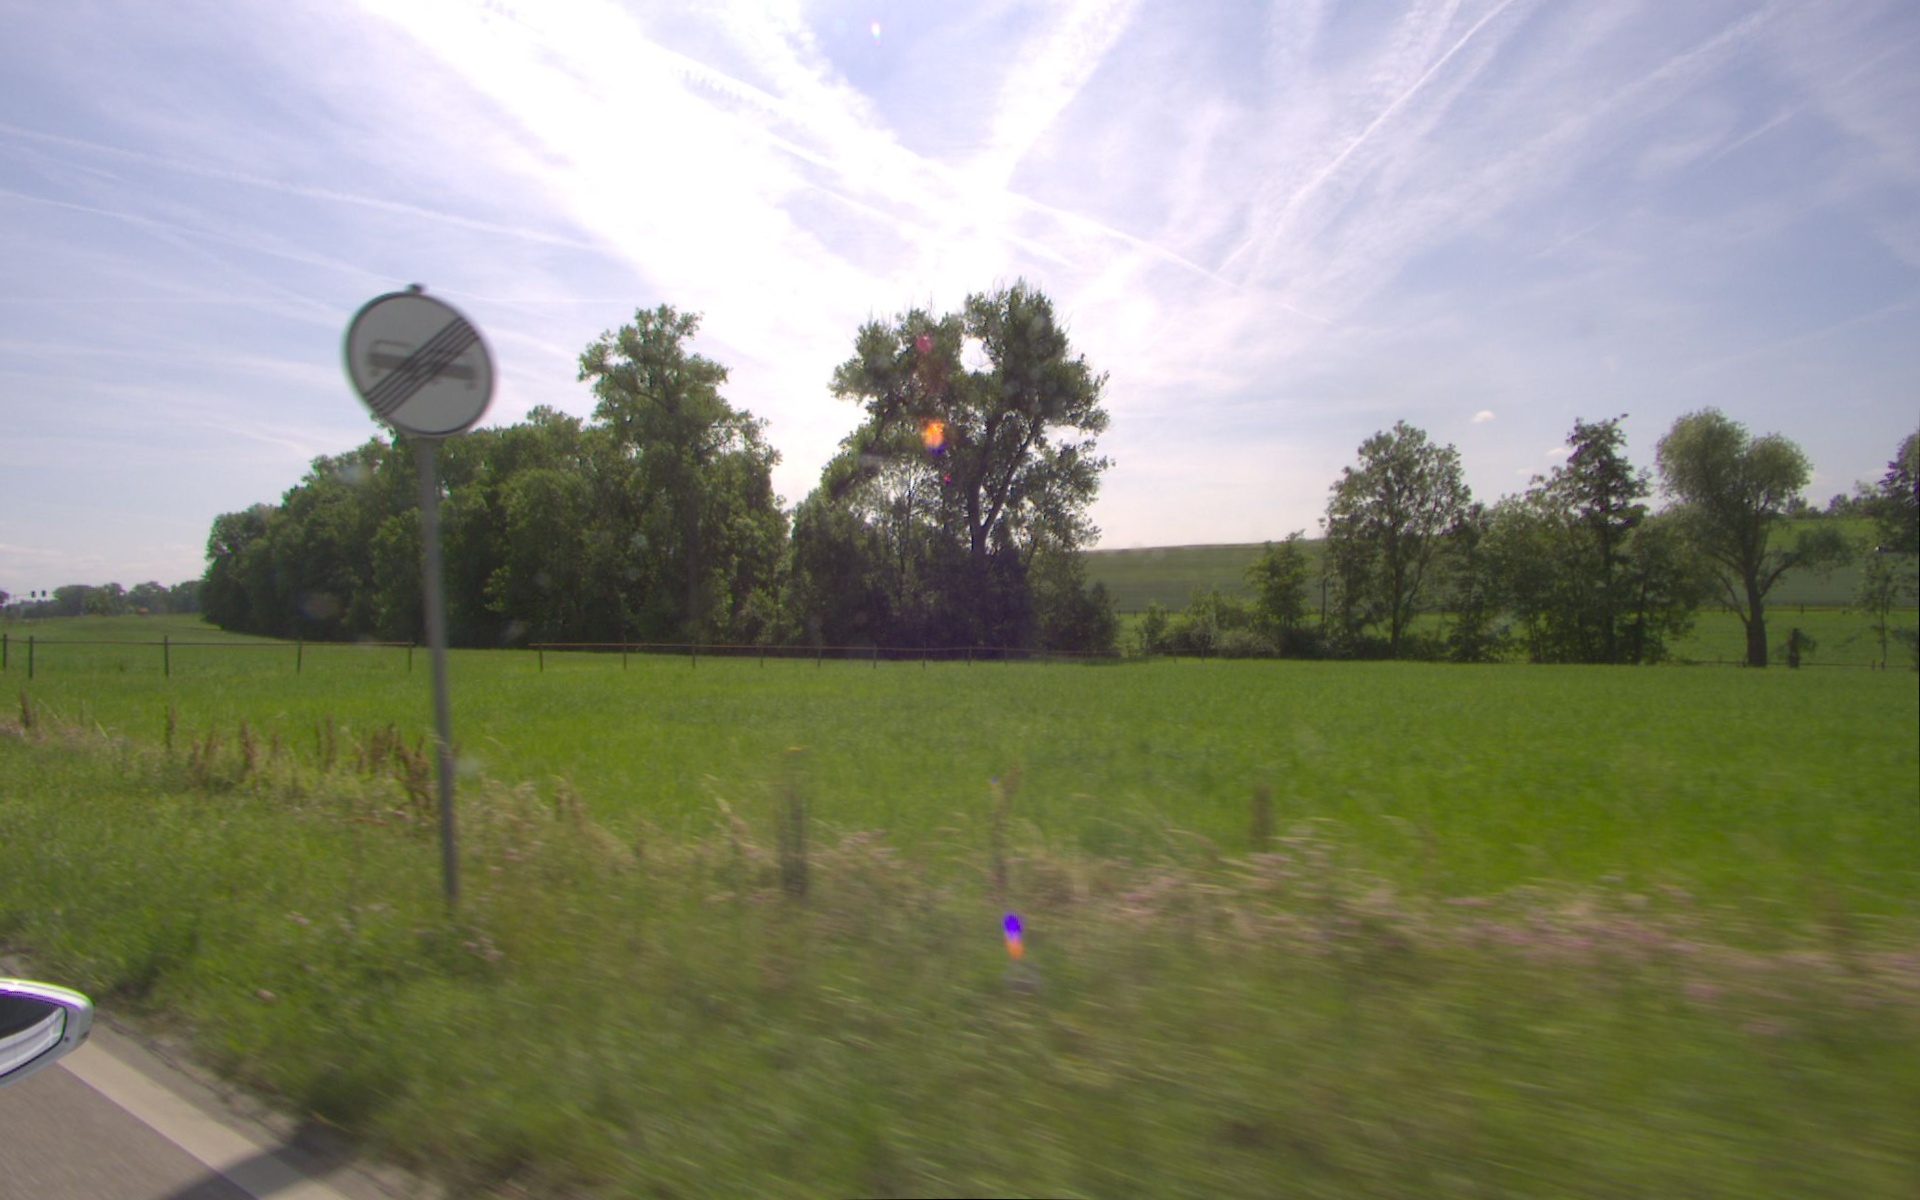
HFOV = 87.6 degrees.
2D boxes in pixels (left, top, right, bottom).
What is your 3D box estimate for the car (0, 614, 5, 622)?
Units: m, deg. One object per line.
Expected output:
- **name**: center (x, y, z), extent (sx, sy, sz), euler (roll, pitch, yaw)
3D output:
- **car**: center (-174.502, 3.191, 181.138), extent (1.803, 1.487, 3.975), euler (2, -2, -34)
